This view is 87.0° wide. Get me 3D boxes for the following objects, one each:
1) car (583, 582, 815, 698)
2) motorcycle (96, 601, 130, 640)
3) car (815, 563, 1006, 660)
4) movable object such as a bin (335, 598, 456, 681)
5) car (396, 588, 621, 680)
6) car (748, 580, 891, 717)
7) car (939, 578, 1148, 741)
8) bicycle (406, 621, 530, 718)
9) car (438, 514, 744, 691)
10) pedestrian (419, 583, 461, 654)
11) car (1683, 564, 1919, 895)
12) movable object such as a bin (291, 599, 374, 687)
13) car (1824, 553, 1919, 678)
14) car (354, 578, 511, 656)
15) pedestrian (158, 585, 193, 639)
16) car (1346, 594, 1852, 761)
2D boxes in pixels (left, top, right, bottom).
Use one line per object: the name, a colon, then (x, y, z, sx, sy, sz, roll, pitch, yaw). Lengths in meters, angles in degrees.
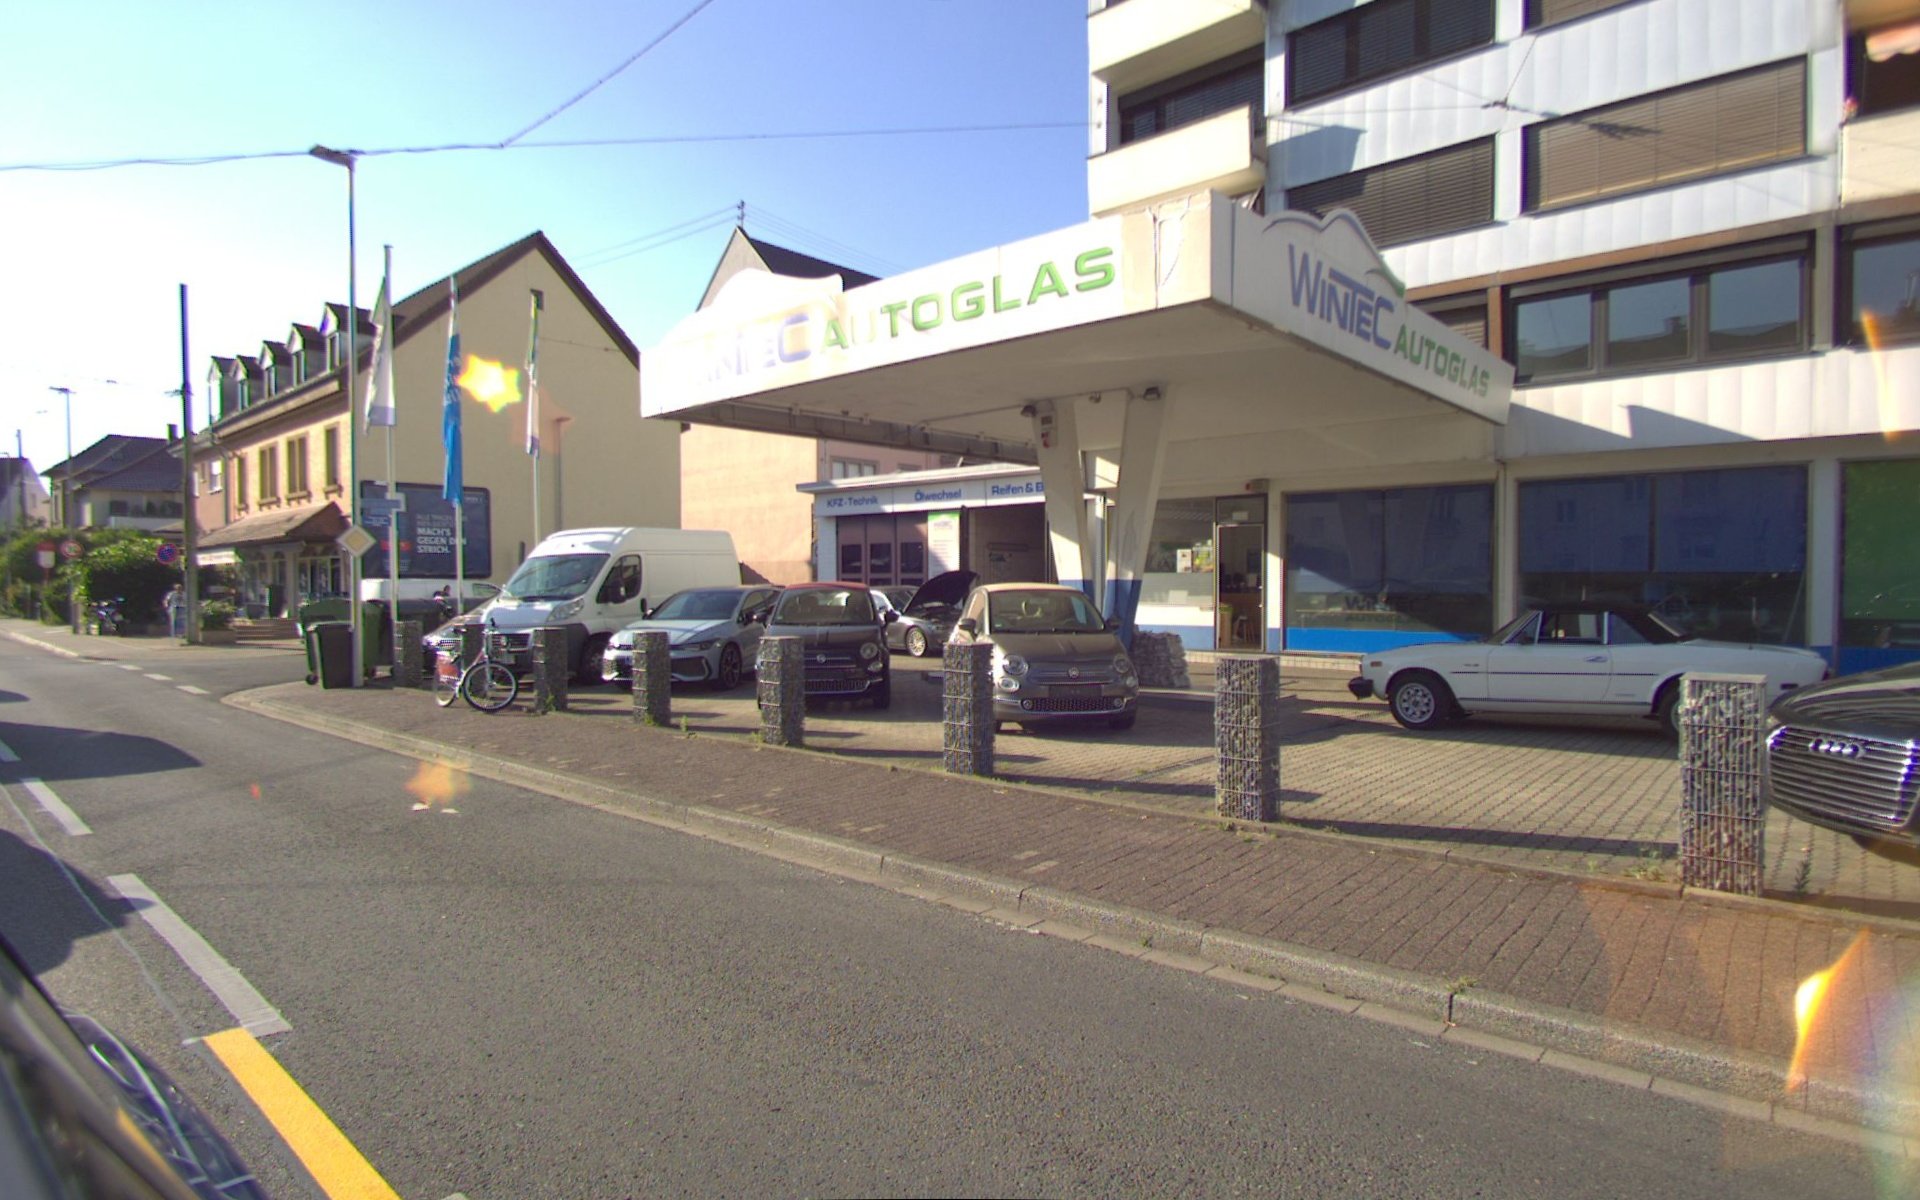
car: (-3.766, 0.498, 15.376, 1.726, 1.508, 4.013, 0, 1, 14)
motorcycle: (-28.530, 0.671, 34.073, 0.698, 1.226, 2.187, 0, 0, -45)
car: (-1.168, 0.214, 22.389, 4.258, 1.958, 1.719, 0, 1, 42)
movable object such as a bin: (-10.678, 0.711, 19.213, 1.039, 1.475, 1.786, 0, 0, 17)
car: (-8.175, 0.535, 18.753, 1.726, 1.488, 4.013, 0, 1, 14)
car: (-1.805, 0.516, 13.003, 1.570, 1.508, 3.442, -1, 1, -8)
car: (0.766, 0.532, 11.188, 1.517, 1.497, 3.380, -1, 1, -9)
bicycle: (-6.235, 0.839, 12.792, 1.790, 1.094, 0.716, 0, 1, 40)
car: (-5.862, 0.005, 16.874, 2.099, 2.472, 4.959, 0, 1, 20)
pedestrian: (-13.936, 0.478, 27.123, 0.823, 1.866, 0.757, 0, 0, 41)
car: (6.467, 0.569, 4.945, 4.616, 1.449, 1.935, 0, 0, -6)
movable object such as a bin: (-10.870, 0.722, 17.565, 1.030, 1.475, 0.798, 0, 0, -16)
car: (14.196, 0.209, 13.812, 3.629, 1.686, 1.700, 0, 0, 40)
car: (-14.654, 0.421, 28.251, 1.450, 2.029, 3.625, 0, 0, 40)
pedestrian: (-25.659, 0.374, 33.084, 0.860, 1.726, 0.798, 0, 0, 44)
car: (5.951, 0.615, 9.762, 3.901, 1.308, 1.505, 0, 0, 39)
